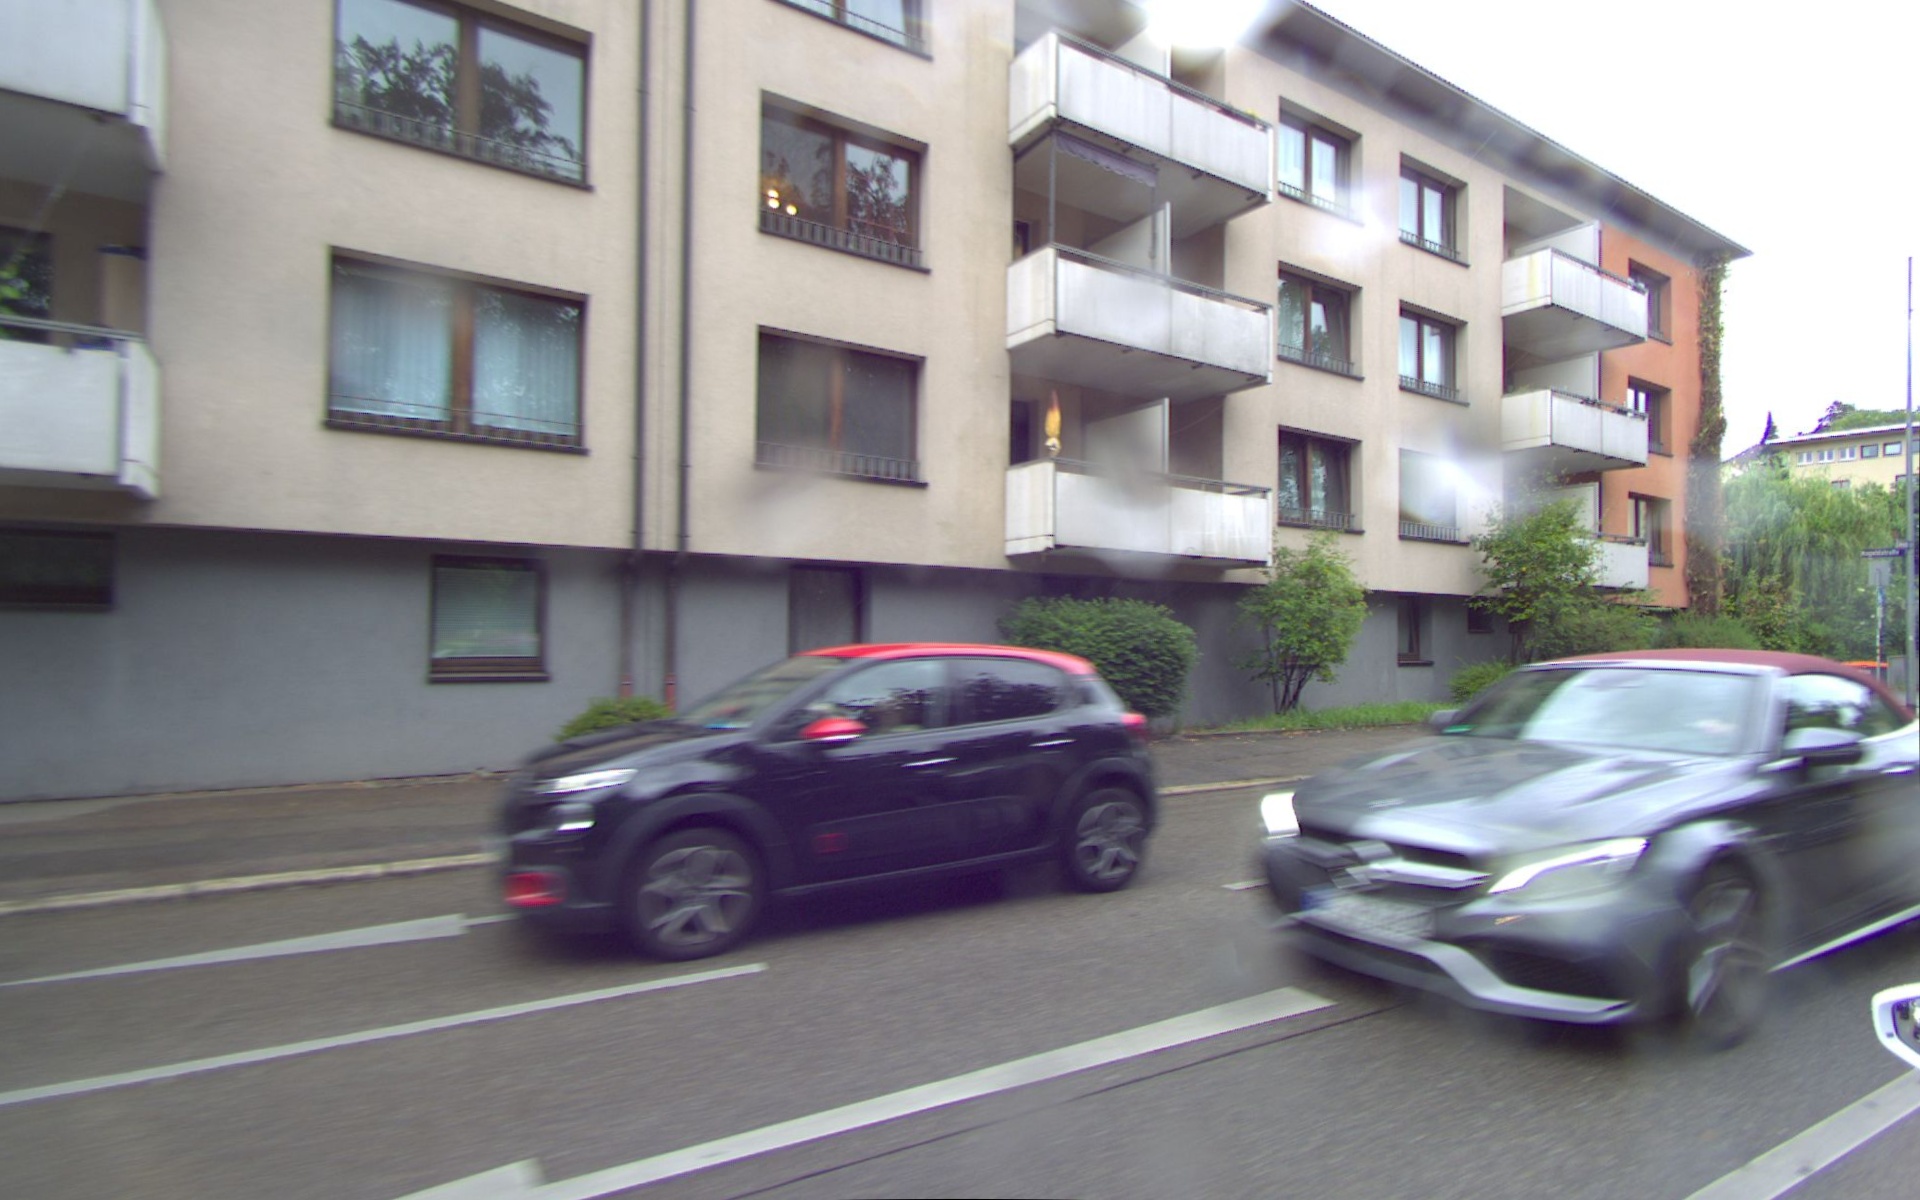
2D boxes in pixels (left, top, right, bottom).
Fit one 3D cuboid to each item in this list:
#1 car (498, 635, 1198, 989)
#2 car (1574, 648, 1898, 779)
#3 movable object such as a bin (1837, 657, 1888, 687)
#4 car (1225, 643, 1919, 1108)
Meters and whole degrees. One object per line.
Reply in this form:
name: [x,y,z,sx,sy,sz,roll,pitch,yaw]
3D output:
car: [-0.584,0.988,6.045,3.845,1.511,1.679,1,-3,-31]
car: [10.315,1.370,13.267,4.628,1.434,1.804,1,-3,-31]
movable object such as a bin: [27.920,2.212,31.089,0.823,0.888,0.961,2,-3,-30]
car: [3.540,0.953,5.065,4.285,1.434,1.785,1,-3,-31]
